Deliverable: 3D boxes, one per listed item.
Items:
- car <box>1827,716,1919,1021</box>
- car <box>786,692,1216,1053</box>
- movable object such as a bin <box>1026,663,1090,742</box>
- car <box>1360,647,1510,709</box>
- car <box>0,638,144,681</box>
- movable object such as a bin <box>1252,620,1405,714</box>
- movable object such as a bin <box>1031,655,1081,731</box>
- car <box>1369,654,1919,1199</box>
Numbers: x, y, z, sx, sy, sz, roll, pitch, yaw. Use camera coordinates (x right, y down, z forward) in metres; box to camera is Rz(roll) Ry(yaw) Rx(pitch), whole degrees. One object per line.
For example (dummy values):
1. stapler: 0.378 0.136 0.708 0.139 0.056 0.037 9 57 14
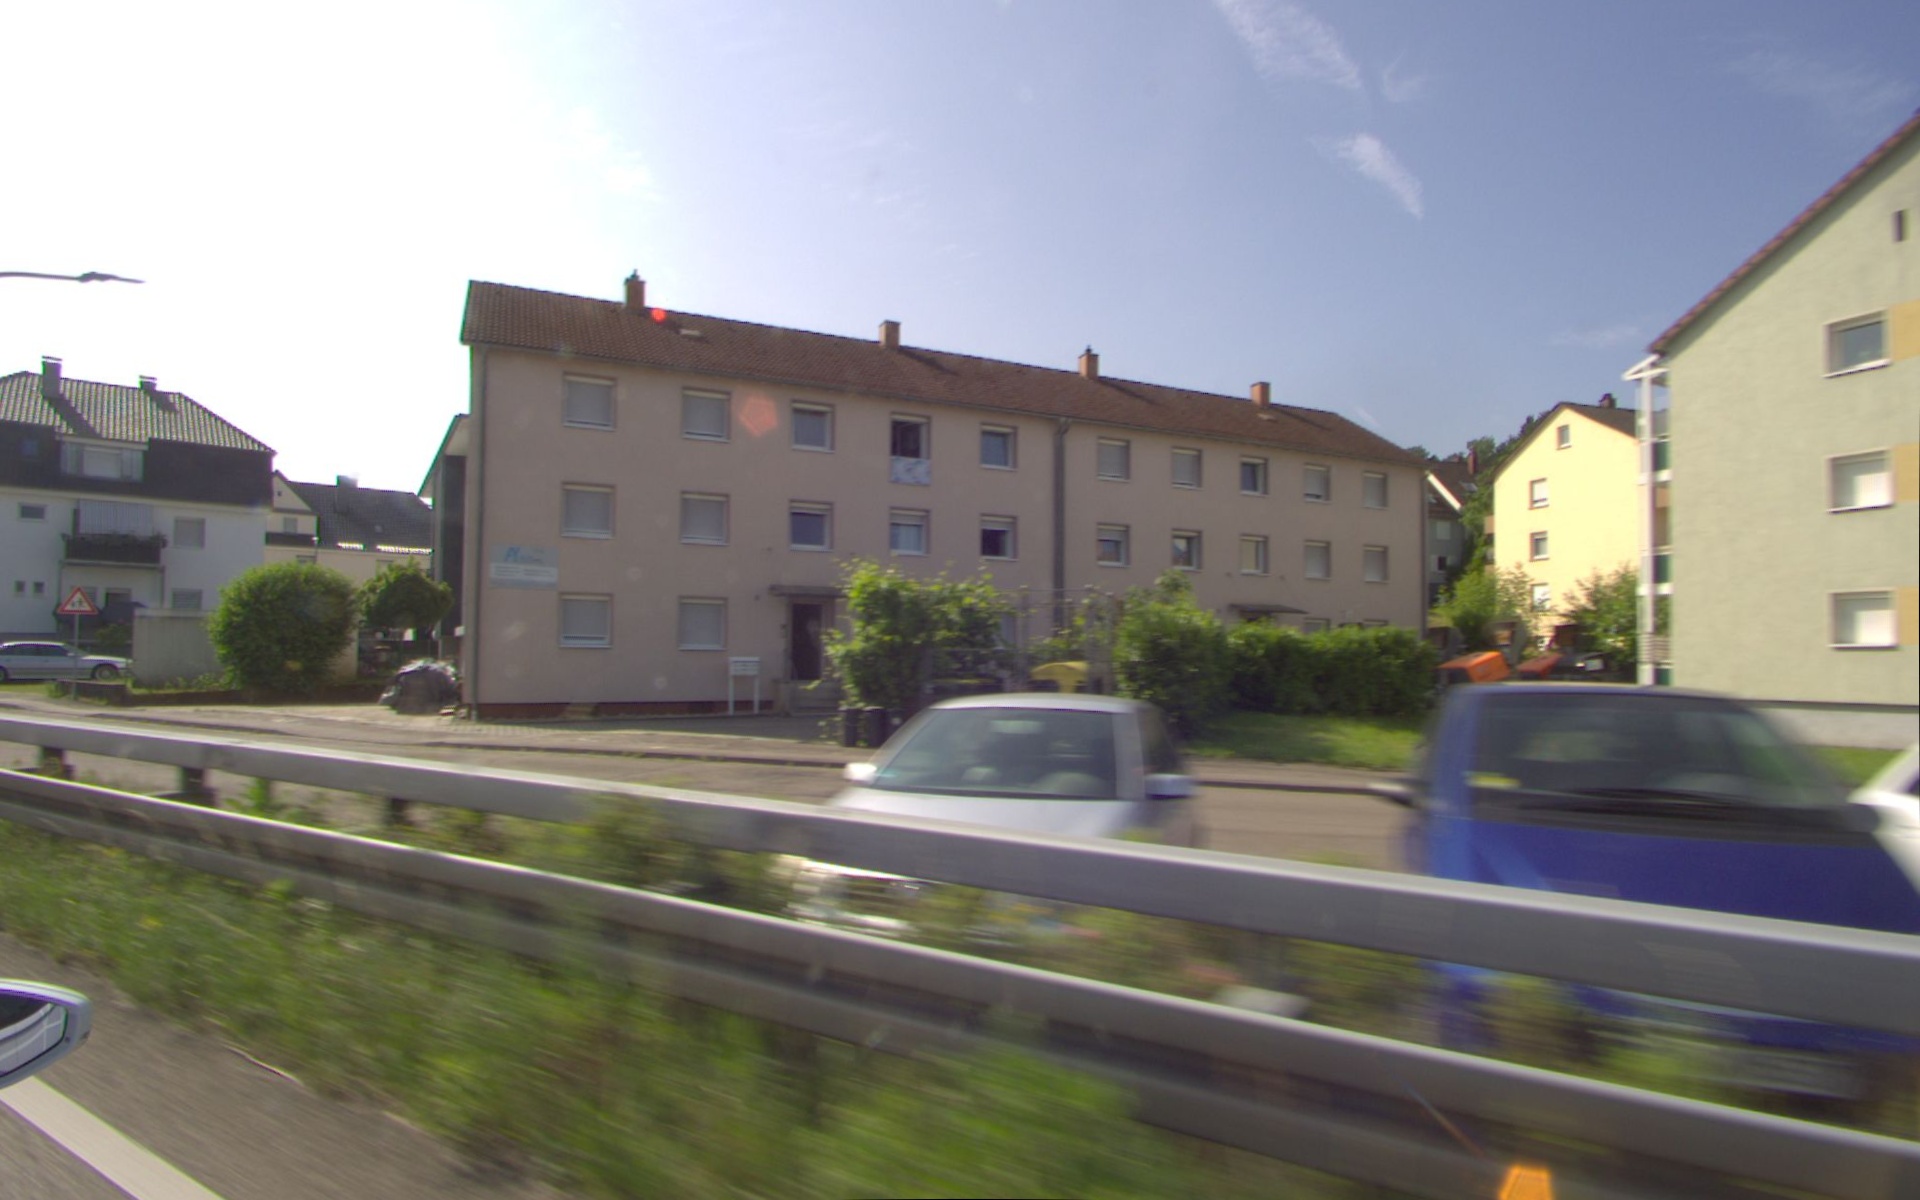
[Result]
1. car: 5.048 1.181 3.577 1.735 1.466 3.996 -1 -6 23
2. car: 0.509 1.248 5.808 1.523 1.392 3.271 -1 -5 21
3. movable object such as a bin: 1.884 1.921 19.057 1.077 1.422 1.274 0 -2 11
4. car: 14.256 2.343 30.081 3.933 1.759 1.814 1 -5 -21
5. car: -31.834 2.061 35.312 4.550 1.366 1.744 1 0 -33
6. movable object such as a bin: 9.806 1.800 26.720 3.470 2.385 1.585 1 -5 -15
7. movable object such as a bin: 2.020 1.921 20.951 0.947 1.533 1.043 0 -2 11
8. car: 3.023 1.171 4.700 1.885 1.590 4.246 -1 -6 20
